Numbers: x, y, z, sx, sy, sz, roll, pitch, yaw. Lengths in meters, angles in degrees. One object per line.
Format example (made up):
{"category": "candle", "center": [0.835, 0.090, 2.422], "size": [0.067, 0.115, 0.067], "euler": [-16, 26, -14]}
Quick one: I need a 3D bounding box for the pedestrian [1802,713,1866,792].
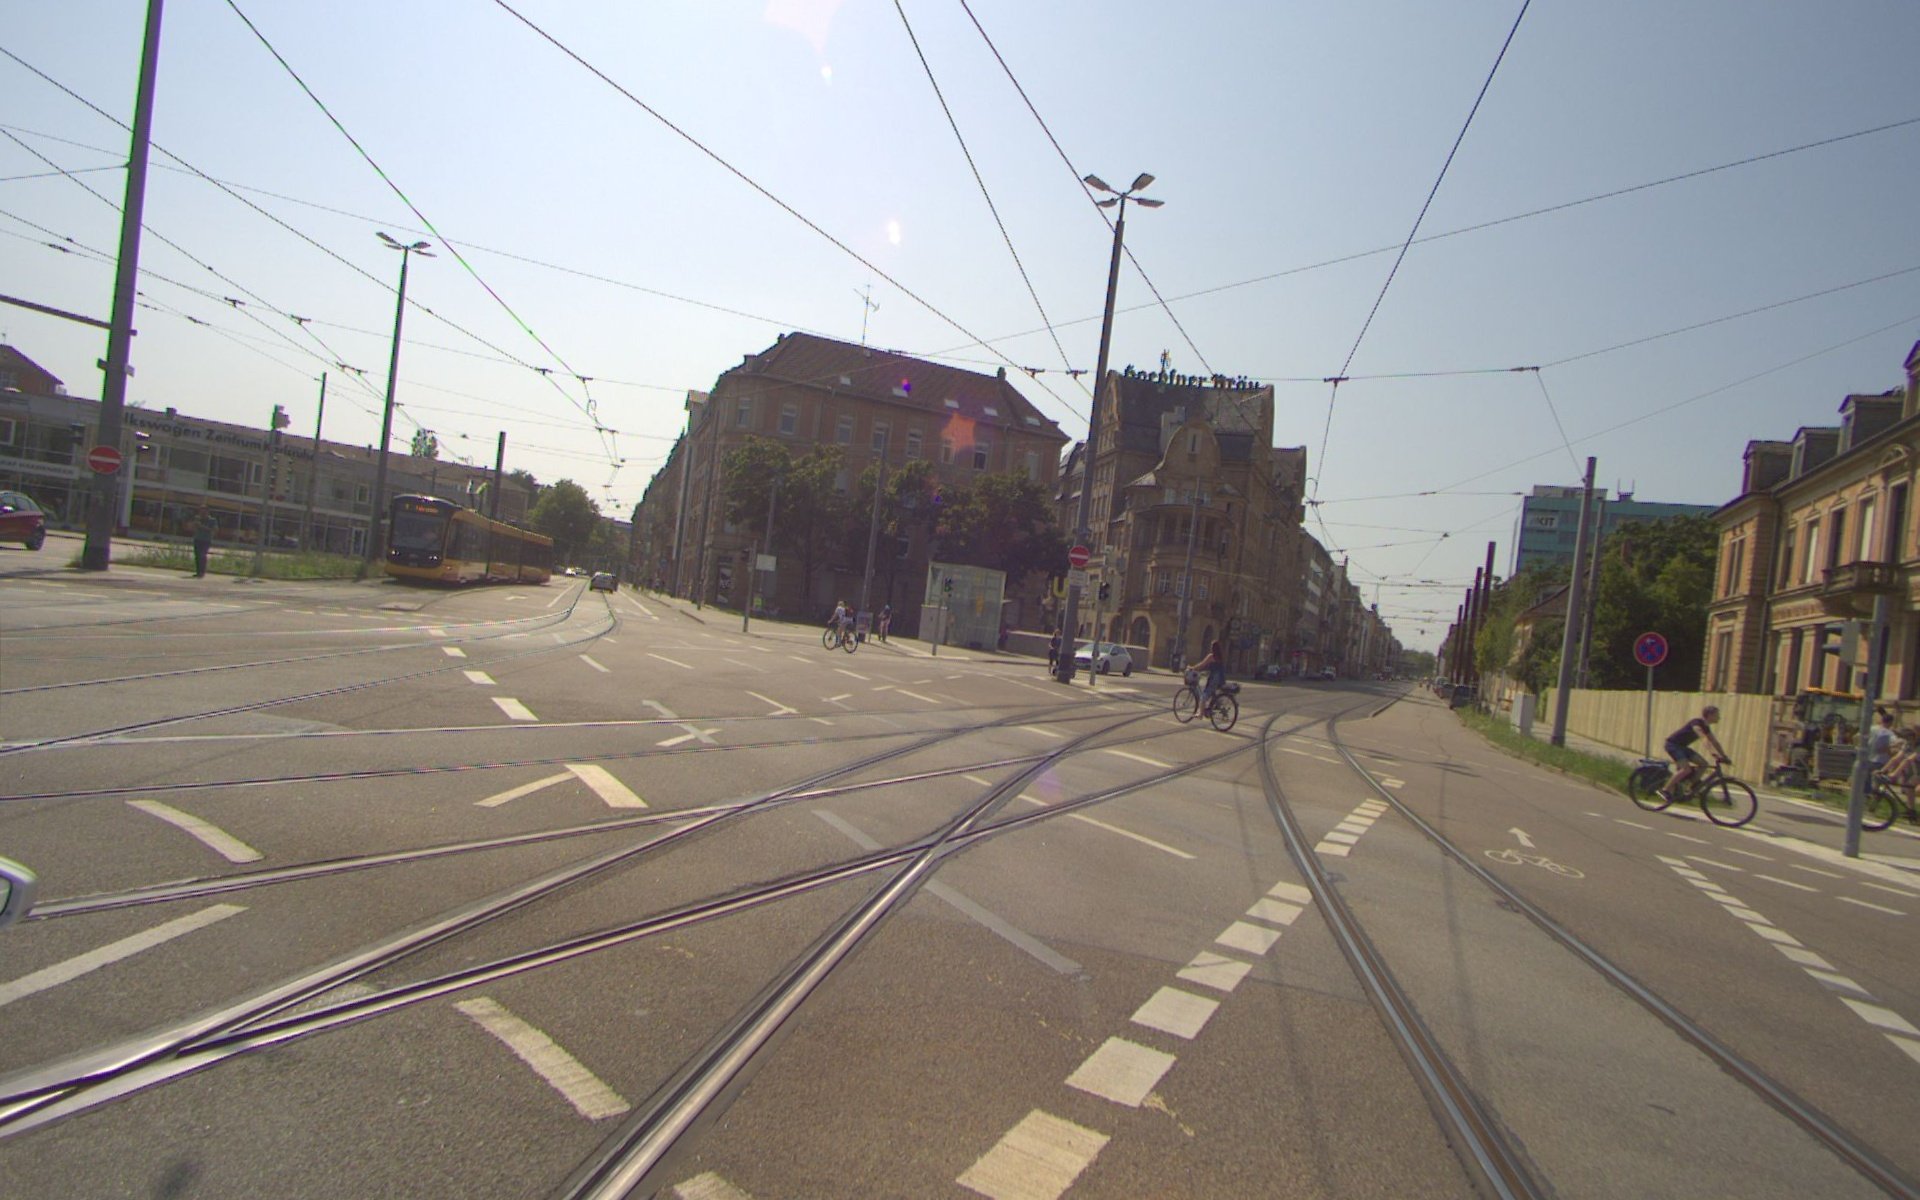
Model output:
{"category": "pedestrian", "center": [20.358, 3.538, 23.446], "size": [0.672, 1.692, 0.685], "euler": [7, 0, -6]}

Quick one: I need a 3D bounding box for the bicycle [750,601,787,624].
{"category": "bicycle", "center": [-10.216, 0.666, 53.726], "size": [1.767, 0.969, 0.459], "euler": [8, 0, -27]}

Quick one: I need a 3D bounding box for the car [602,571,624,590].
{"category": "car", "center": [-31.244, -1.764, 90.499], "size": [1.495, 1.529, 3.604], "euler": [7, -1, -23]}

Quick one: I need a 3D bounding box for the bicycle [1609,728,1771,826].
{"category": "bicycle", "center": [11.409, 2.743, 15.810], "size": [0.466, 1.140, 1.942], "euler": [7, 0, -30]}

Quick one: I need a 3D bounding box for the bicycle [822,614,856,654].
{"category": "bicycle", "center": [-3.903, 1.077, 32.404], "size": [0.436, 1.125, 1.631], "euler": [7, 0, -28]}

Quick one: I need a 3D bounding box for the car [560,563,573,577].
{"category": "car", "center": [-66.645, -5.050, 170.507], "size": [1.753, 2.038, 3.982], "euler": [7, -1, -20]}

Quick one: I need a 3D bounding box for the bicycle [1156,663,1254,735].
{"category": "bicycle", "center": [4.813, 1.928, 19.912], "size": [0.436, 1.125, 2.112], "euler": [7, 0, -30]}

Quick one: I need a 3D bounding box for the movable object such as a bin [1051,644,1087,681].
{"category": "movable object such as a bin", "center": [3.674, 2.110, 33.931], "size": [0.807, 1.097, 1.037], "euler": [8, -2, -11]}

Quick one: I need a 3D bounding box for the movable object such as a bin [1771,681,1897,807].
{"category": "movable object such as a bin", "center": [22.190, 3.585, 25.702], "size": [1.790, 2.704, 4.442], "euler": [7, -1, 36]}

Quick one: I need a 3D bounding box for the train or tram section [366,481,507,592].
{"category": "train or tram section", "center": [-22.028, -2.379, 43.205], "size": [2.557, 3.600, 12.183], "euler": [8, -2, -16]}

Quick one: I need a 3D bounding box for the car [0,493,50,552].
{"category": "car", "center": [-26.008, -2.154, 26.478], "size": [1.607, 1.489, 3.755], "euler": [7, -1, -20]}

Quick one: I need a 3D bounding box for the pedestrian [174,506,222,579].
{"category": "pedestrian", "center": [-18.944, -1.430, 25.017], "size": [0.798, 1.708, 0.711], "euler": [7, 0, -38]}

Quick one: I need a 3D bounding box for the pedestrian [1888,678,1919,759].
{"category": "pedestrian", "center": [20.810, 2.582, 21.730], "size": [0.672, 1.692, 0.685], "euler": [7, 0, -6]}

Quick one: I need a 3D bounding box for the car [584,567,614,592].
{"category": "car", "center": [-27.628, -1.591, 76.992], "size": [1.717, 1.591, 3.592], "euler": [9, -2, -24]}

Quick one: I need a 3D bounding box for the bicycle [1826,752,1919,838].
{"category": "bicycle", "center": [15.169, 3.178, 16.097], "size": [1.827, 1.125, 0.710], "euler": [7, 0, 37]}

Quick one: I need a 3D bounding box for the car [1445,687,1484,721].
{"category": "car", "center": [35.532, 7.332, 70.763], "size": [1.967, 2.036, 3.996], "euler": [7, -3, 31]}

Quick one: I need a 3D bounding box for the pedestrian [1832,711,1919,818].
{"category": "pedestrian", "center": [17.701, 3.147, 19.363], "size": [0.672, 1.835, 1.038], "euler": [7, 0, -6]}

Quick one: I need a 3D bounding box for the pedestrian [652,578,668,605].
{"category": "pedestrian", "center": [-23.664, -0.667, 79.317], "size": [0.833, 2.036, 0.804], "euler": [9, -1, -28]}

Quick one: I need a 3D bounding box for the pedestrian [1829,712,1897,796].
{"category": "pedestrian", "center": [19.943, 3.390, 22.226], "size": [0.672, 1.692, 0.685], "euler": [7, 0, -6]}

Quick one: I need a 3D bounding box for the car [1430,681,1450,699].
{"category": "car", "center": [62.431, 11.717, 130.839], "size": [1.966, 1.925, 3.999], "euler": [7, -2, 29]}

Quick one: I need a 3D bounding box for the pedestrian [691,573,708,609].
{"category": "pedestrian", "center": [-15.338, -0.551, 59.189], "size": [0.642, 2.038, 0.699], "euler": [7, 0, -24]}

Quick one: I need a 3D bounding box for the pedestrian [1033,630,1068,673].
{"category": "pedestrian", "center": [3.147, 1.783, 34.925], "size": [0.715, 1.368, 0.806], "euler": [7, 0, -45]}

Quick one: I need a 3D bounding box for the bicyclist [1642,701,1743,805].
{"category": "bicyclist", "center": [11.504, 2.399, 15.813], "size": [0.795, 1.440, 0.923], "euler": [7, 0, -31]}

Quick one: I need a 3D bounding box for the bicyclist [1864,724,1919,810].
{"category": "bicyclist", "center": [15.204, 2.681, 16.125], "size": [0.851, 1.249, 1.098], "euler": [7, 0, 38]}

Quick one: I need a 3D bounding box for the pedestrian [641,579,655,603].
{"category": "pedestrian", "center": [-28.059, -0.825, 90.425], "size": [0.785, 2.036, 0.804], "euler": [8, -1, -28]}

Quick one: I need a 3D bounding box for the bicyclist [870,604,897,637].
{"category": "bicyclist", "center": [-3.401, 0.922, 44.658], "size": [0.741, 1.336, 0.914], "euler": [7, 0, -30]}

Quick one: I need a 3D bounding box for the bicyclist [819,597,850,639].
{"category": "bicyclist", "center": [-4.051, 0.577, 32.514], "size": [0.651, 1.269, 0.639], "euler": [7, 0, -30]}

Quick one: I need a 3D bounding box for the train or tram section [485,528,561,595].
{"category": "train or tram section", "center": [-28.718, -2.333, 66.637], "size": [2.557, 3.600, 12.183], "euler": [8, -2, -16]}

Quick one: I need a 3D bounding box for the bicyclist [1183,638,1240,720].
{"category": "bicyclist", "center": [4.928, 1.549, 19.732], "size": [0.651, 1.499, 0.639], "euler": [7, 0, -30]}

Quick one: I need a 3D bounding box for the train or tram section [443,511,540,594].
{"category": "train or tram section", "center": [-25.538, -2.354, 55.511], "size": [2.557, 3.600, 12.183], "euler": [8, -2, -16]}

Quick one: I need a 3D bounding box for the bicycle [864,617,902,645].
{"category": "bicycle", "center": [-3.455, 1.378, 44.659], "size": [0.639, 1.010, 2.357], "euler": [7, 0, -30]}

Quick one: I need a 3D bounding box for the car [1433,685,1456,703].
{"category": "car", "center": [55.170, 10.729, 114.528], "size": [1.966, 1.702, 3.999], "euler": [7, -3, 29]}

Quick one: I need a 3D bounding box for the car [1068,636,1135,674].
{"category": "car", "center": [6.530, 2.519, 46.036], "size": [1.562, 1.302, 3.724], "euler": [7, -3, 32]}

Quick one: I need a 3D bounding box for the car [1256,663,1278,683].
{"category": "car", "center": [26.407, 6.266, 86.417], "size": [1.350, 1.413, 3.258], "euler": [7, -2, 23]}
